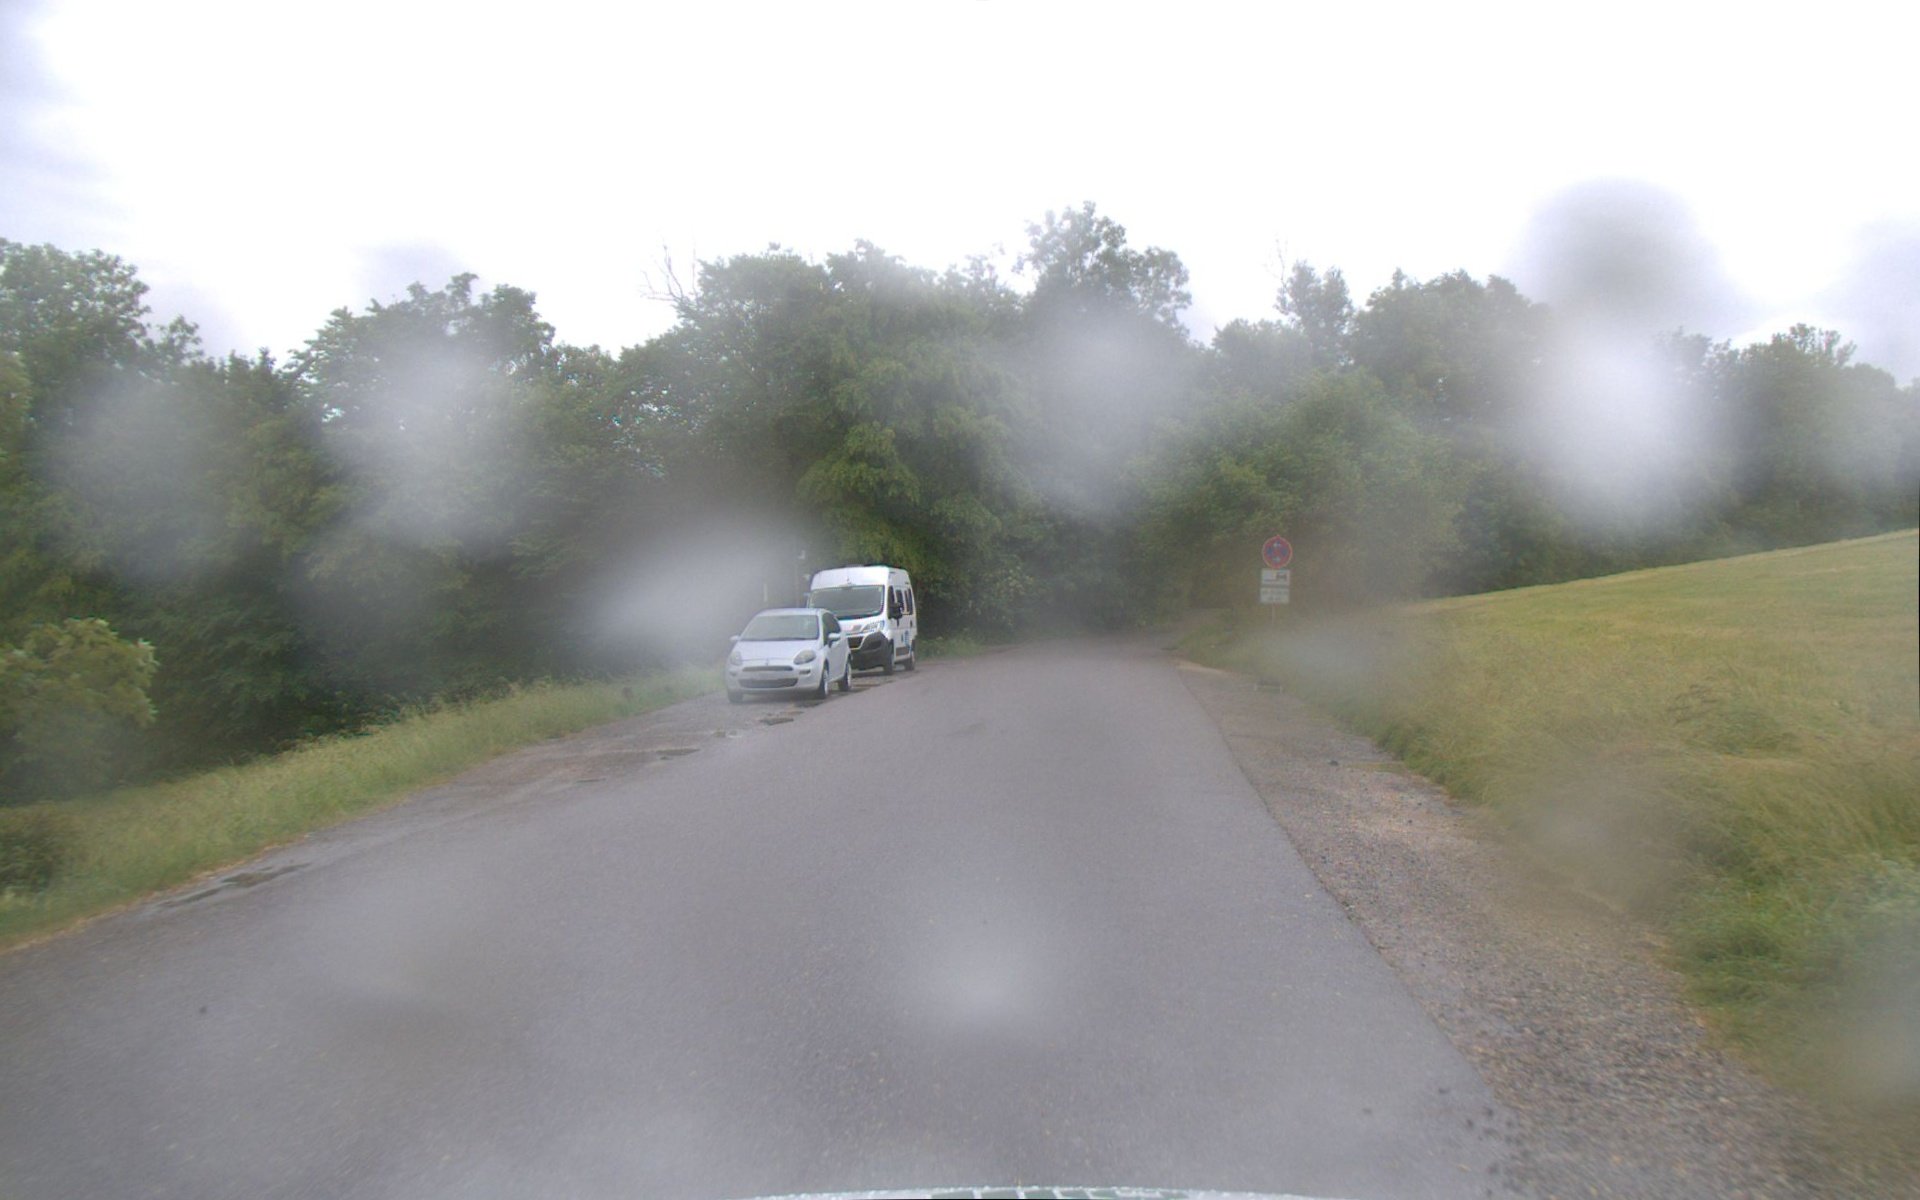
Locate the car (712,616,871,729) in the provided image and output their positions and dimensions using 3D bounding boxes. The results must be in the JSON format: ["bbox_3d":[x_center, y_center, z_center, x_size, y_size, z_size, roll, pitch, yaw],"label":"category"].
[{"bbox_3d":[-2.813,1.177,28.593,1.822,1.623,4.498,-3,0,5],"label":"car"}]

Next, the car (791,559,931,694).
[{"bbox_3d":[-2.178,0.545,38.513,2.225,2.743,6.053,-4,0,5],"label":"car"}]
